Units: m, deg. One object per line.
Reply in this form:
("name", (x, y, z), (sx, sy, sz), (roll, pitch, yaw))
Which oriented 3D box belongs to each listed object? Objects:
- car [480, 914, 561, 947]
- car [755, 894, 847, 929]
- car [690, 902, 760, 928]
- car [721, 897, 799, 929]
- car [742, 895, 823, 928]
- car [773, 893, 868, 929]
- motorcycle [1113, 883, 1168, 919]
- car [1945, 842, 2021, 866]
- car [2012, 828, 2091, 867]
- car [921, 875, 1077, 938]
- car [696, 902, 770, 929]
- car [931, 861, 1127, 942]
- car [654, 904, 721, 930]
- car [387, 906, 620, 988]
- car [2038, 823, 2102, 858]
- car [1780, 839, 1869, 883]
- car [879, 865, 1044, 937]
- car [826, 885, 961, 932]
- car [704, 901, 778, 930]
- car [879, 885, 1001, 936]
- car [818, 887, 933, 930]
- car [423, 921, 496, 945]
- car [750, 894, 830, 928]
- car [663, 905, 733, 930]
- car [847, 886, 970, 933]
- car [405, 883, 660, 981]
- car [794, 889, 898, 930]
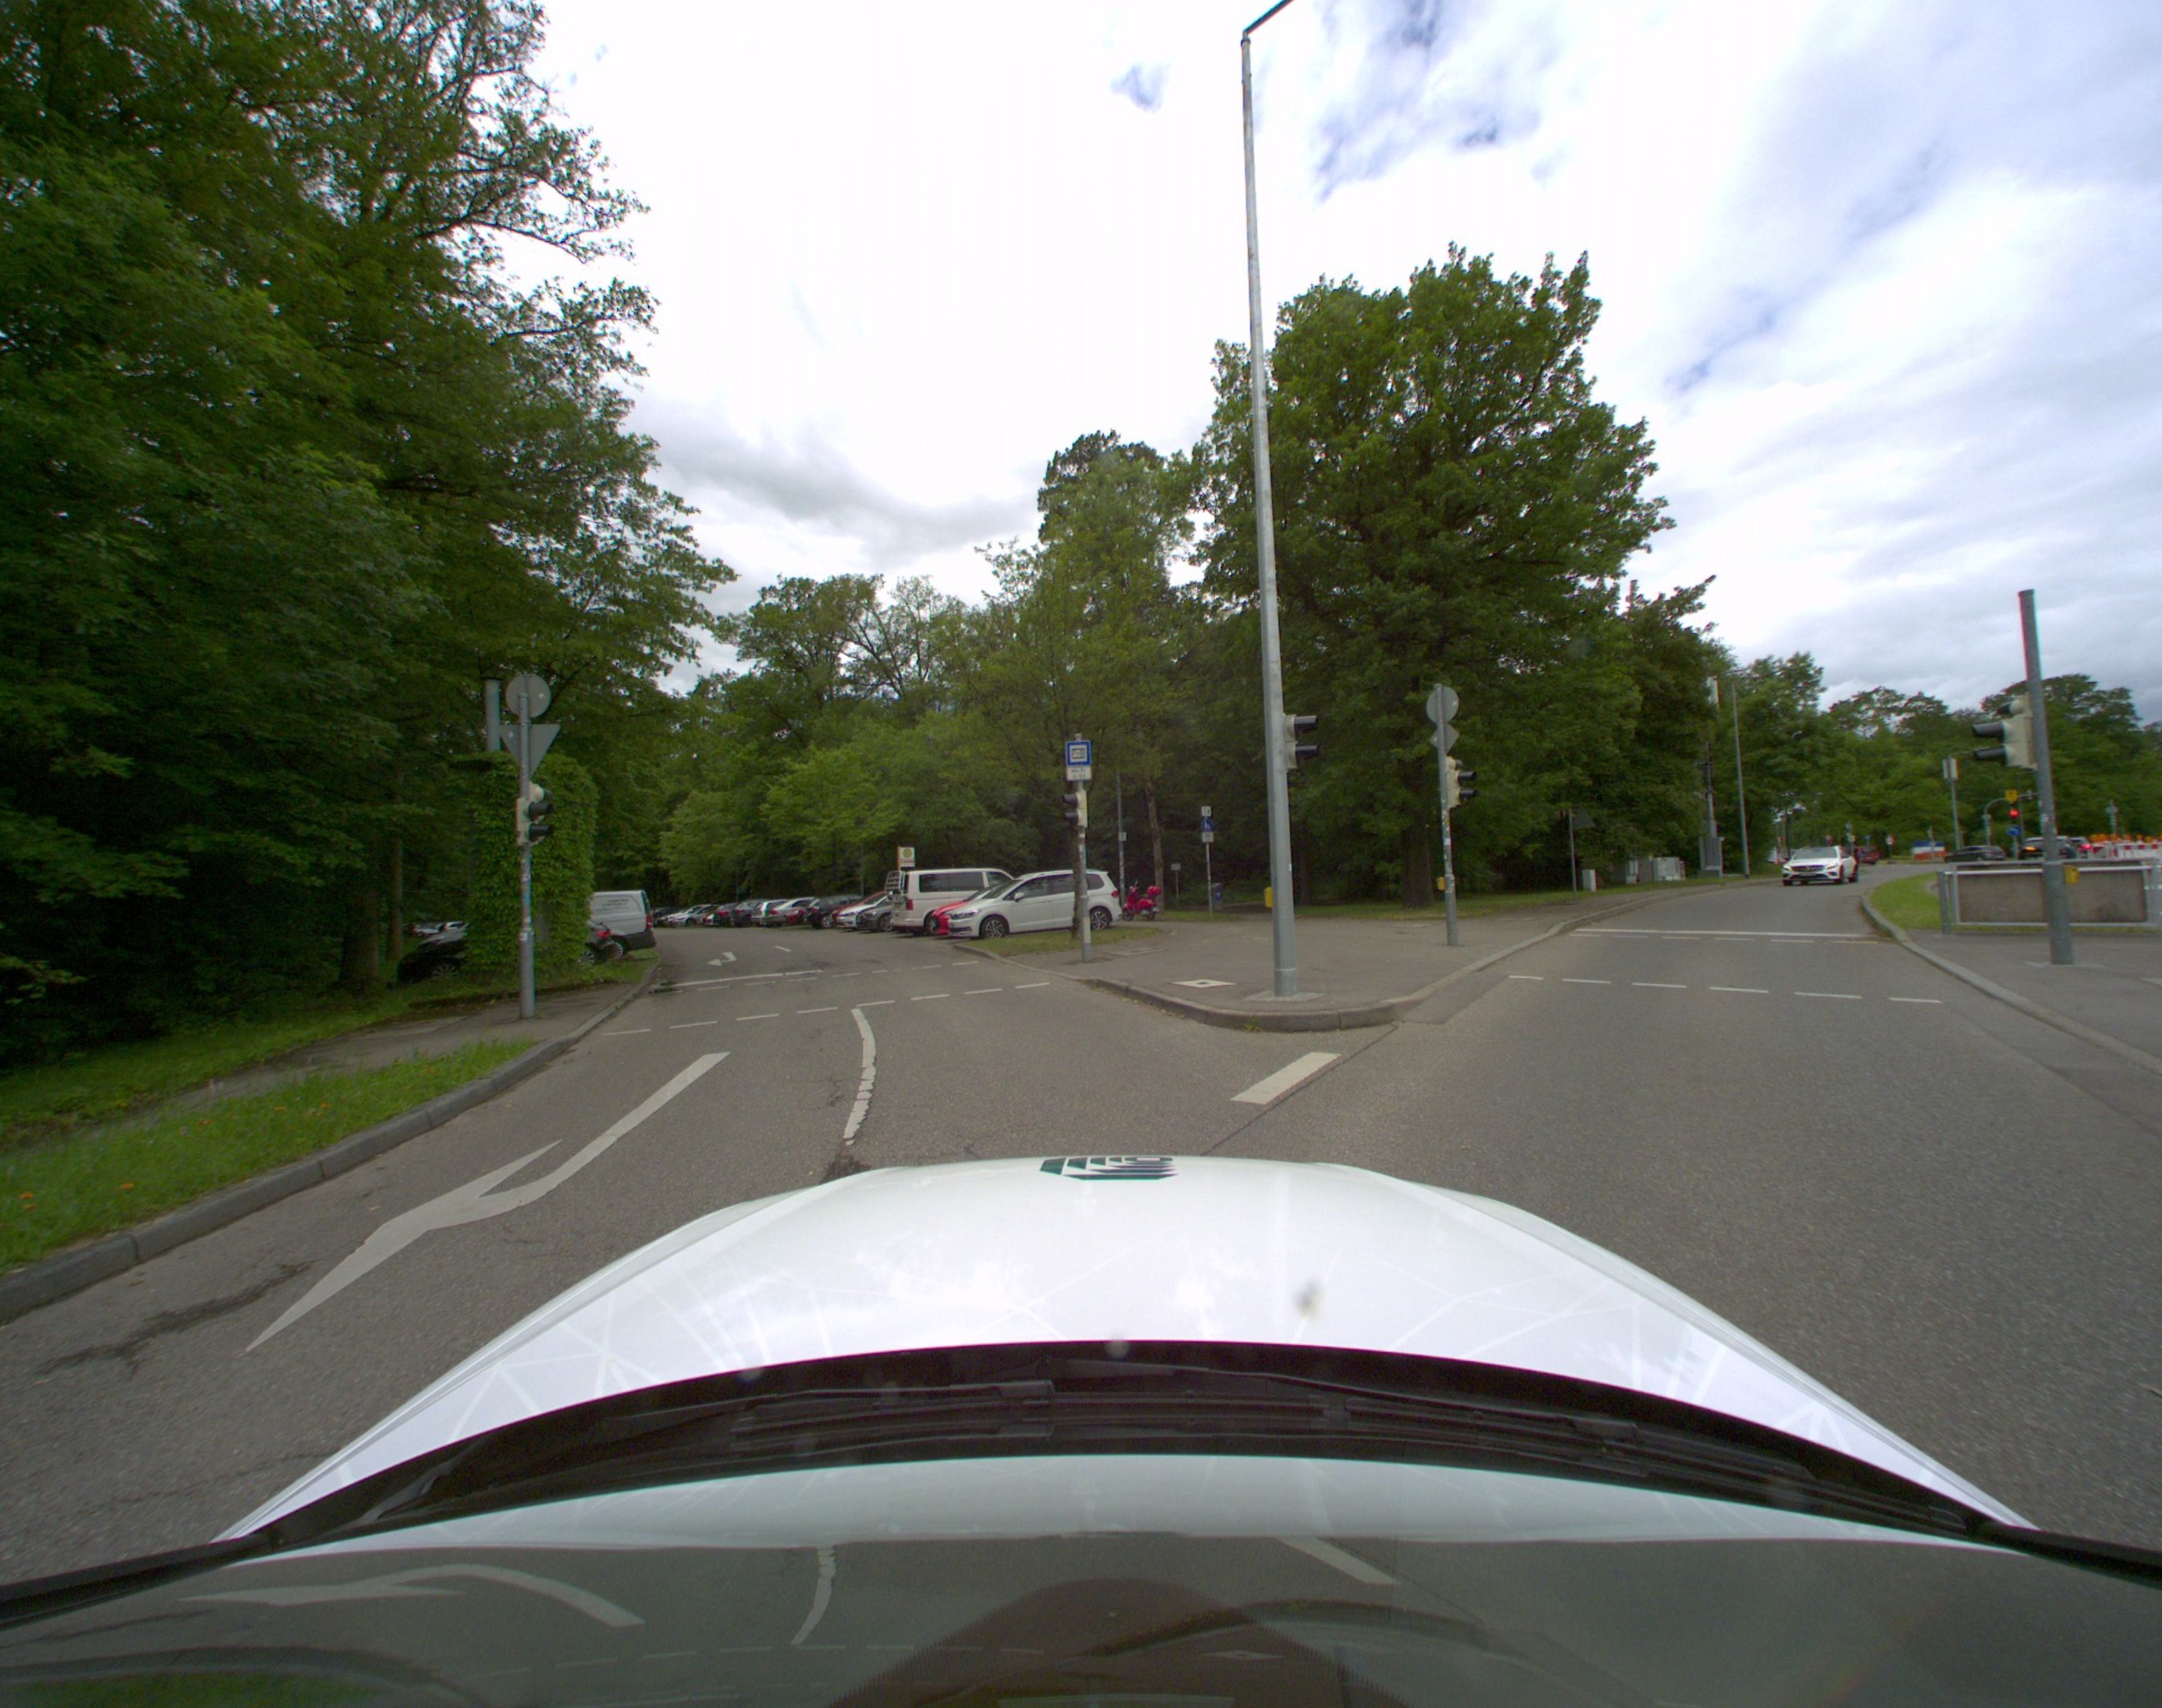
("car", (-34.734, 4.735, 50.567), (3.989, 1.628, 1.977), (-3, -2, -34))
("car", (-14.594, 2.981, 42.494), (4.158, 1.461, 1.844), (-3, -3, -36))
("car", (-23.775, 4.082, 54.480), (1.846, 1.441, 3.830), (-5, -2, 41))
("car", (-18.872, 3.460, 47.907), (3.799, 1.590, 1.927), (-2, -2, -38))
("car", (-16.934, 3.244, 46.270), (3.875, 1.546, 1.710), (-2, -3, -39))
("car", (-12.929, 2.797, 40.446), (4.019, 1.450, 1.919), (-2, -3, -37))
("motorcycle", (1.962, 1.573, 27.305), (0.680, 1.160, 1.989), (-1, -2, -36))
("car", (75.921, 0.015, 68.619), (1.985, 1.882, 4.002), (-1, -1, 2))
("car", (45.854, -0.272, 38.475), (4.016, 1.717, 1.979), (0, -1, -34))
("car", (-2.364, 1.458, 23.277), (4.014, 1.555, 1.931), (-1, -2, -23))
("car", (-22.259, 3.924, 52.144), (3.966, 1.411, 1.855), (-2, -2, -41))
("car", (-1.356, 1.198, 21.041), (4.542, 1.693, 2.147), (-3, -3, -25))
("car", (-28.785, 4.584, 59.651), (4.043, 1.559, 1.954), (-2, -2, -41))
("car", (-12.599, 1.978, 18.114), (4.011, 1.379, 1.706), (-2, -2, -29))
("car", (51.863, -0.676, 42.681), (3.718, 1.738, 1.783), (0, -1, -34))
("car", (31.709, 0.293, 34.682), (4.600, 1.750, 1.977), (0, -1, -37))
("car", (-3.730, 1.405, 25.523), (4.677, 2.021, 2.063), (0, -2, -30))
("car", (-7.312, 2.087, 31.940), (4.802, 1.476, 1.834), (-2, -2, -30))
("car", (-20.787, 3.737, 49.821), (3.801, 1.481, 1.752), (-2, -3, -42))
("car", (-4.840, 1.893, 28.033), (3.747, 1.555, 1.828), (0, -1, -32))
("car", (-8.617, 2.270, 34.269), (4.259, 1.480, 1.899), (-2, -3, -33))
("car", (-50.259, 6.397, 65.927), (1.867, 1.486, 4.408), (-7, -3, 40))
("car", (-15.869, 3.104, 44.477), (3.731, 1.511, 1.731), (-2, -3, -37))
("car", (-27.137, 4.468, 57.763), (4.013, 1.484, 1.860), (-1, -3, -45))
("car", (-6.308, 2.027, 29.812), (4.013, 1.484, 1.858), (0, -5, -32))
("car", (-13.697, 1.901, 20.789), (5.117, 1.915, 1.959), (-3, -2, -29))
("car", (-10.396, 2.432, 36.133), (4.015, 1.483, 1.902), (-3, -3, -33))
